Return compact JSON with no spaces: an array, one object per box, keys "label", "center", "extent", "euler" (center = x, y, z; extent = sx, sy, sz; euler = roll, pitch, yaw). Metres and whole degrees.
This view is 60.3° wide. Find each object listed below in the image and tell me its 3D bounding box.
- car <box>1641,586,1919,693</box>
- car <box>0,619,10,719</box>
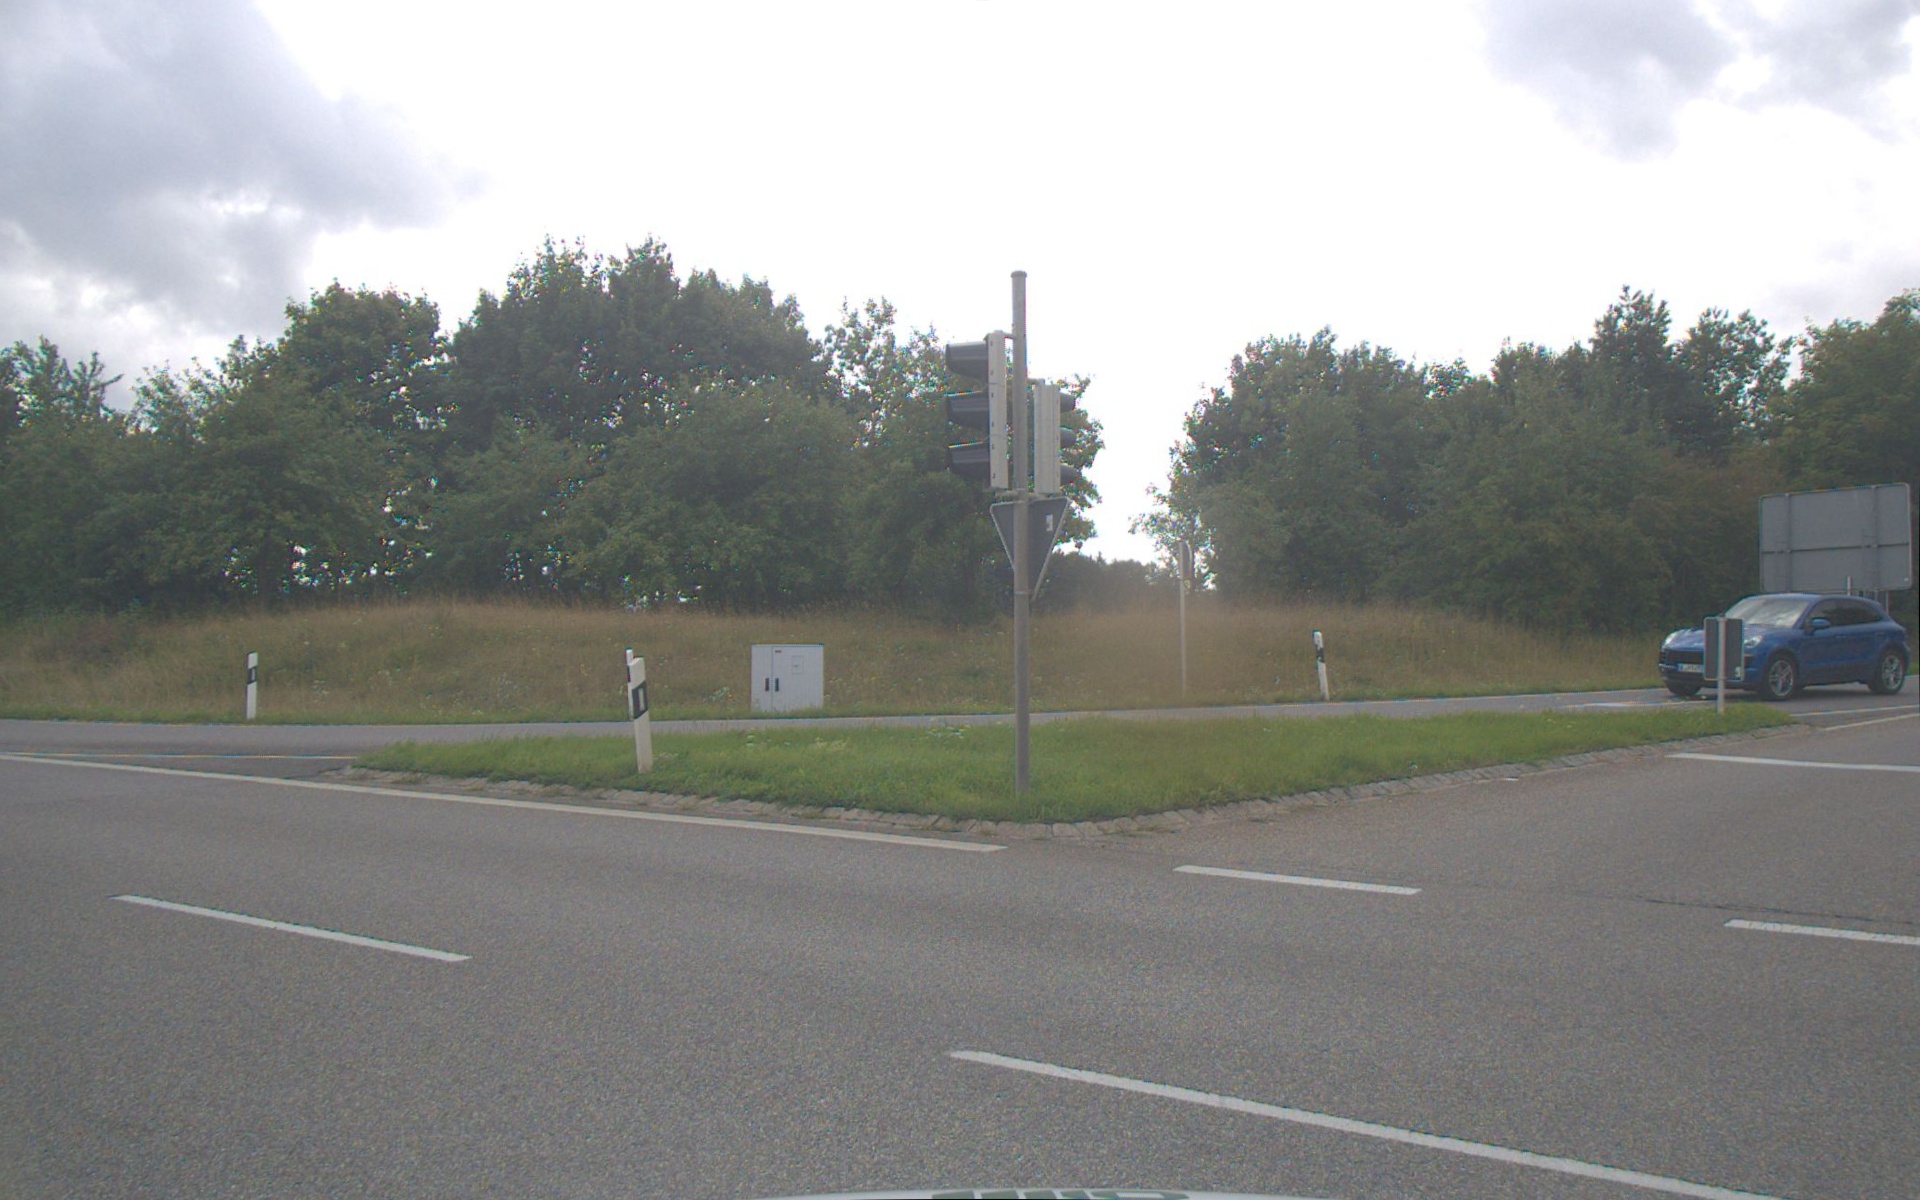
[{"label":"car","center":[13.384,0.600,26.624],"extent":[4.686,1.598,1.982],"euler":[0,-1,-28]},{"label":"car","center":[-17.119,1.068,25.741],"extent":[3.905,1.562,2.000],"euler":[0,-1,21]}]
